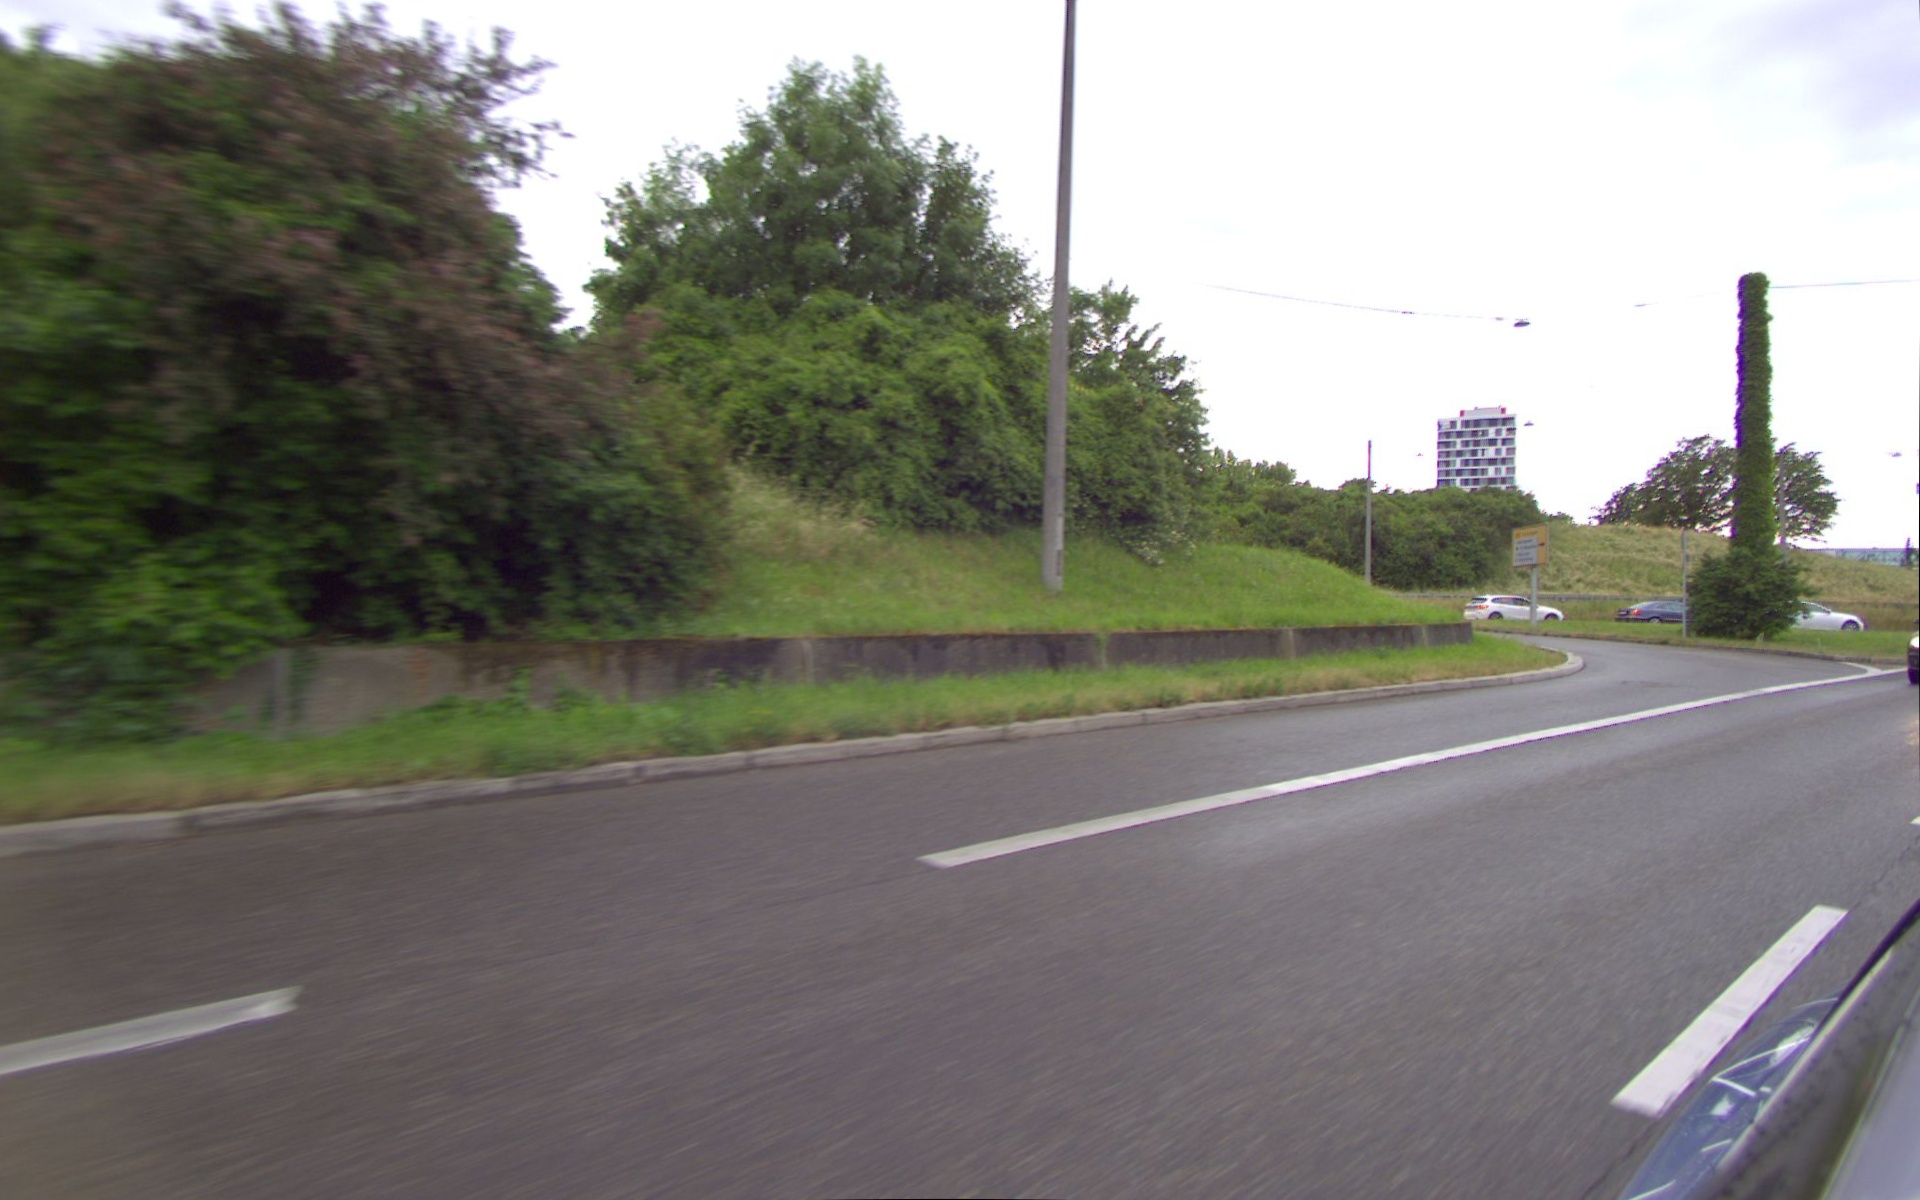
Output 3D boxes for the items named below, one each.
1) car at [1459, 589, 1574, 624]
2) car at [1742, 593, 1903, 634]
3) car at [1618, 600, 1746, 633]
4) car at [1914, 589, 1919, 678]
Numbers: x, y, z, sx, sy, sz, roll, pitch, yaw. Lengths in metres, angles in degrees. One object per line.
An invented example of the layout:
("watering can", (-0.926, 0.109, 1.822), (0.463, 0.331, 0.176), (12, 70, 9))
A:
("car", (25.973, 0.309, 47.301), (4.189, 1.447, 2.075), (2, -1, -1))
("car", (36.825, 0.572, 43.322), (4.902, 1.666, 2.072), (0, -1, 5))
("car", (33.283, 0.755, 46.759), (4.475, 1.368, 1.840), (2, -1, 6))
("car", (19.568, 0.605, 18.969), (4.202, 1.621, 1.927), (0, 0, -39))
